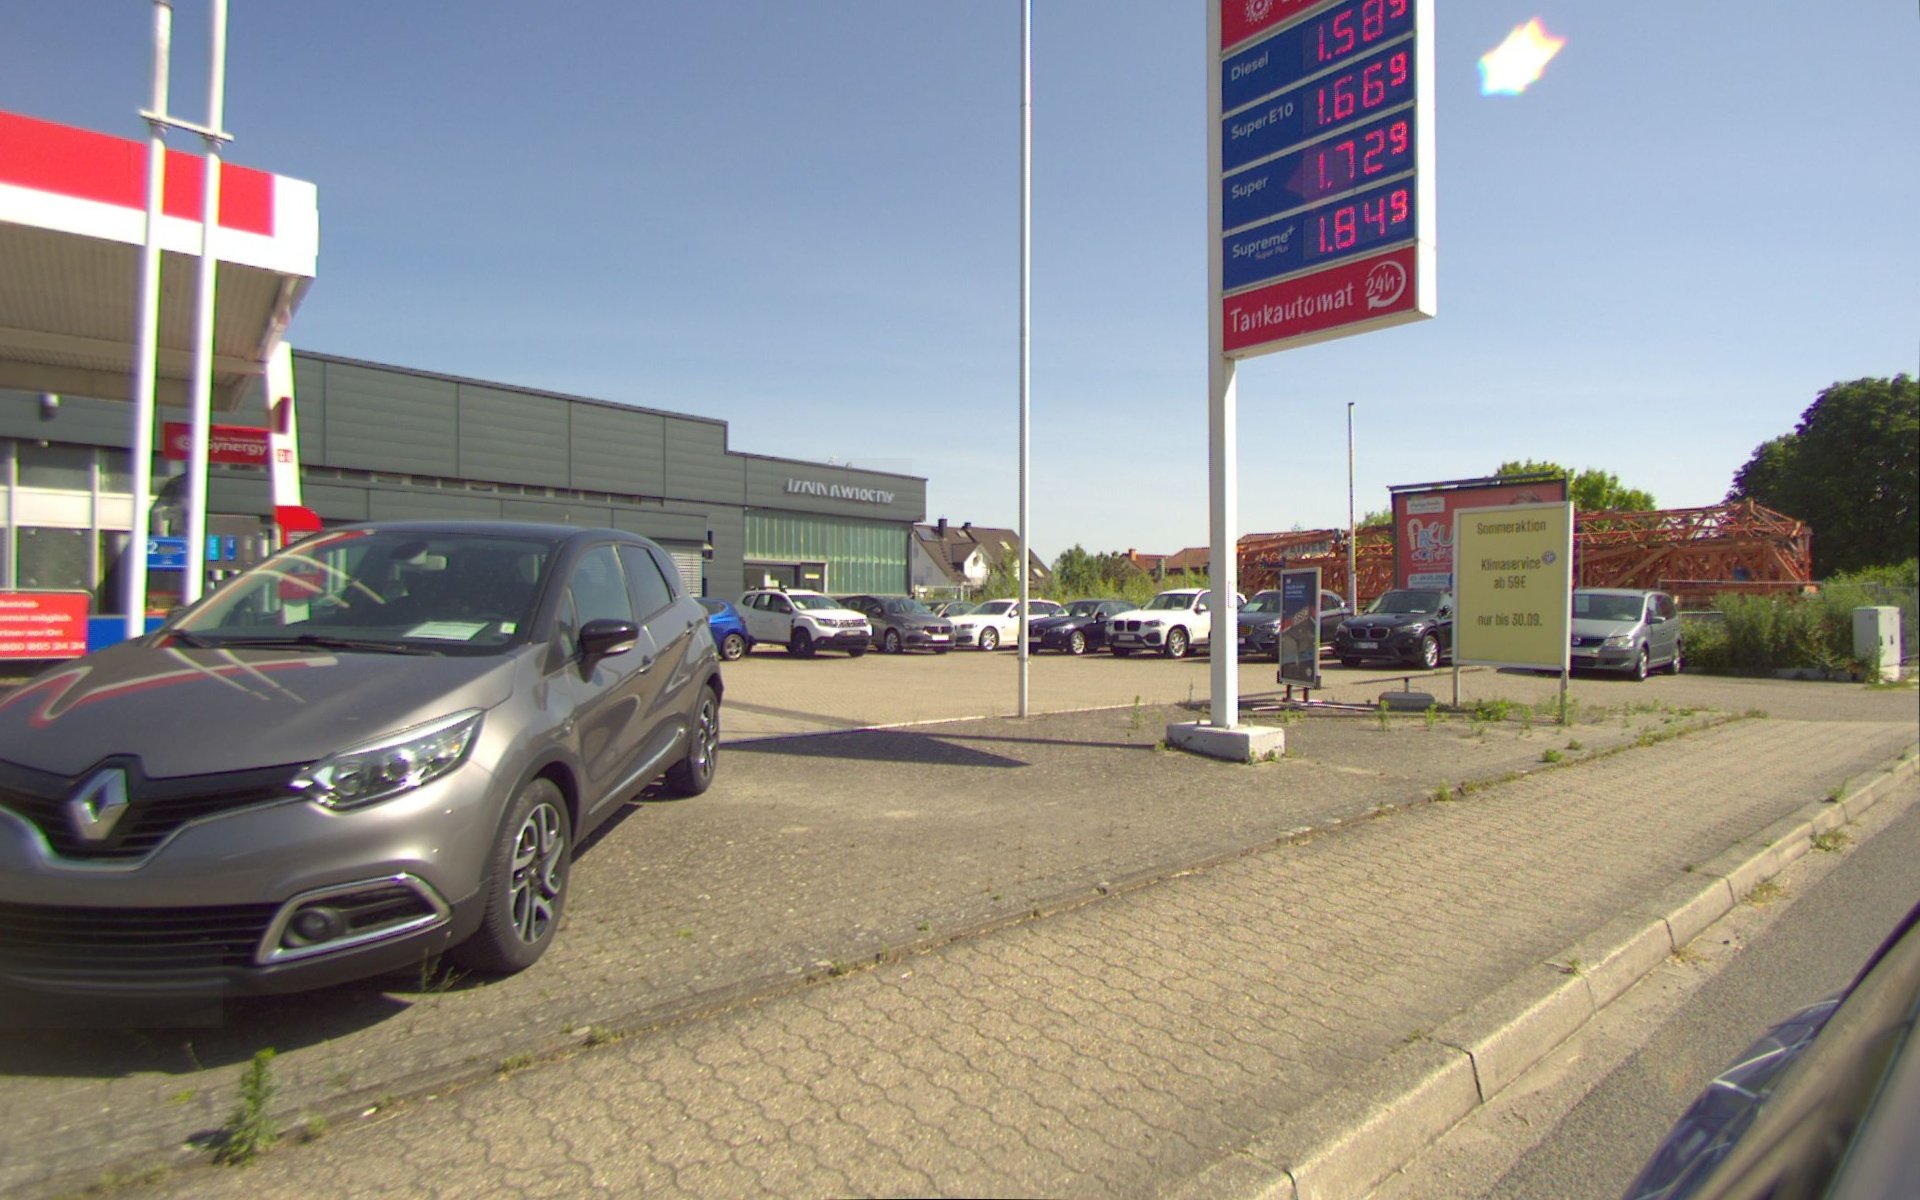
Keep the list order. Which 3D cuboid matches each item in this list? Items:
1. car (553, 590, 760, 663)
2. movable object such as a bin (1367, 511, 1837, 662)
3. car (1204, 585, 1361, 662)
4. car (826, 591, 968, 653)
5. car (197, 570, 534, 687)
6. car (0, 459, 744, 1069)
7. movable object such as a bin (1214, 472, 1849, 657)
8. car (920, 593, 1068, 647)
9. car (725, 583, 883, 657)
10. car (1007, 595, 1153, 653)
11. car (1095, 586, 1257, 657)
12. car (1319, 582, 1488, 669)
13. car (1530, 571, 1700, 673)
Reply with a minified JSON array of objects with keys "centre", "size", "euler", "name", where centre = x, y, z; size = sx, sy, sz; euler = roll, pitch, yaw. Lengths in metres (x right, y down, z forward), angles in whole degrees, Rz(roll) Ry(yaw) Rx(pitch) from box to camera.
[{"centre":[-6.570,0.514,22.226],"size":[1.791,1.450,4.066],"euler":[0,0,41],"name":"car"},{"centre":[20.837,-0.402,34.373],"size":[2.812,4.218,13.278],"euler":[0,0,-40],"name":"movable object such as a bin"},{"centre":[7.405,0.466,23.051],"size":[1.841,1.612,4.041],"euler":[0,0,44],"name":"car"},{"centre":[-1.699,0.511,26.418],"size":[1.782,1.492,3.681],"euler":[0,0,-43],"name":"car"},{"centre":[-10.176,0.492,17.692],"size":[1.801,1.764,4.748],"euler":[-1,-2,40],"name":"car"},{"centre":[-2.269,0.356,4.696],"size":[1.740,1.574,4.184],"euler":[0,2,-1],"name":"car"},{"centre":[14.856,-0.808,29.251],"size":[2.725,4.069,16.081],"euler":[0,0,-40],"name":"movable object such as a bin"},{"centre":[1.038,0.509,28.751],"size":[1.841,1.404,4.307],"euler":[0,0,44],"name":"car"},{"centre":[-3.879,0.438,24.674],"size":[1.782,1.654,4.144],"euler":[0,0,-43],"name":"car"},{"centre":[3.227,0.577,26.722],"size":[1.841,1.404,3.937],"euler":[0,0,44],"name":"car"},{"centre":[5.411,0.464,25.035],"size":[1.999,1.612,4.270],"euler":[0,0,44],"name":"car"},{"centre":[9.203,0.445,20.862],"size":[1.970,1.612,3.937],"euler":[0,0,44],"name":"car"},{"centre":[12.574,0.393,19.311],"size":[4.296,1.707,1.805],"euler":[2,0,-44],"name":"car"}]
